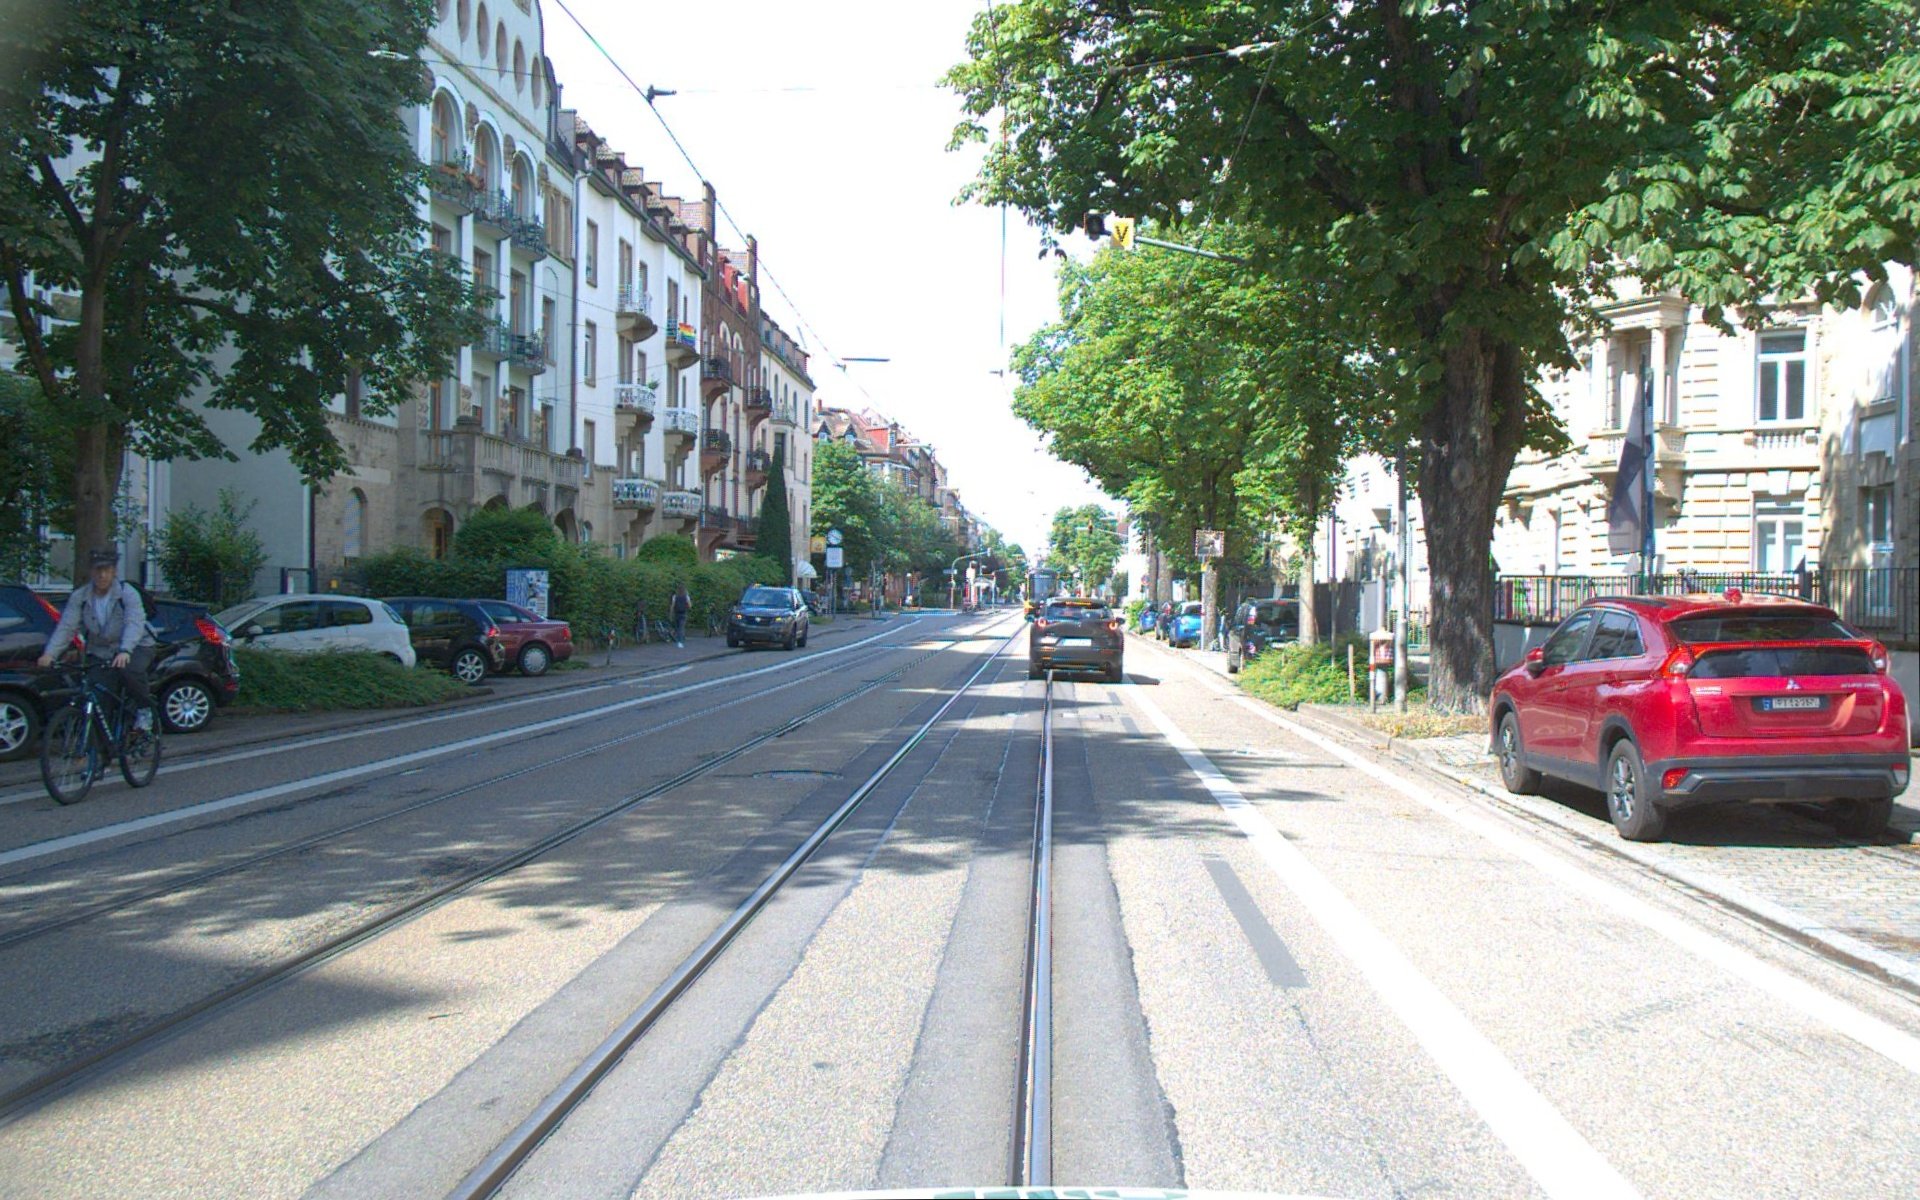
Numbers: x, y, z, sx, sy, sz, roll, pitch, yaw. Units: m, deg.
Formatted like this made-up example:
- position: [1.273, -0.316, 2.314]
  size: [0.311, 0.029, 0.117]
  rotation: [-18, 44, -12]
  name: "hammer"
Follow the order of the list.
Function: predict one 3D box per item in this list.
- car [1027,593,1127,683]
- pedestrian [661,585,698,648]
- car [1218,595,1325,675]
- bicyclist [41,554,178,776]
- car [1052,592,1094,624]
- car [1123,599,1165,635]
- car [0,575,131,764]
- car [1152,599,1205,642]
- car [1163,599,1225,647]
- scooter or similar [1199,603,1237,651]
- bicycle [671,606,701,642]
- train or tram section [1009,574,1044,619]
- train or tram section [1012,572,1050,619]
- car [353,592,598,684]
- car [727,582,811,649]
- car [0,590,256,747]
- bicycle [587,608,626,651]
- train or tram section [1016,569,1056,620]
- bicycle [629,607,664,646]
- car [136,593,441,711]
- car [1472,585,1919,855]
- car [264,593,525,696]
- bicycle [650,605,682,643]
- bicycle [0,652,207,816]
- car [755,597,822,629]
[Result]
- position: [2.224, 0.678, 32.256]
  size: [1.752, 1.538, 4.352]
  rotation: [2, 1, 2]
  name: "car"
- position: [-7.312, 0.423, 43.128]
  size: [0.665, 1.595, 0.882]
  rotation: [2, 0, 5]
  name: "pedestrian"
- position: [6.721, 0.727, 36.085]
  size: [1.661, 1.619, 4.204]
  rotation: [-1, 0, 2]
  name: "car"
- position: [-6.328, 0.473, 12.341]
  size: [0.628, 1.604, 0.742]
  rotation: [0, -1, 0]
  name: "bicyclist"
- position: [5.436, 0.364, 79.943]
  size: [1.748, 1.518, 4.883]
  rotation: [0, 0, 1]
  name: "car"
- position: [8.093, 0.740, 73.007]
  size: [1.590, 1.522, 3.849]
  rotation: [-1, 0, 3]
  name: "car"
- position: [-9.563, 0.641, 14.312]
  size: [3.966, 1.620, 1.714]
  rotation: [-2, 0, -42]
  name: "car"
- position: [8.253, 0.755, 62.696]
  size: [1.606, 1.522, 3.758]
  rotation: [-1, 0, 1]
  name: "car"
- position: [7.708, 0.730, 54.738]
  size: [1.605, 1.522, 3.628]
  rotation: [-1, 0, 2]
  name: "car"
- position: [7.469, 0.767, 47.864]
  size: [0.435, 1.322, 1.172]
  rotation: [-3, 2, -27]
  name: "scooter or similar"
- position: [-7.875, 0.683, 47.594]
  size: [0.375, 0.975, 1.922]
  rotation: [2, 0, 5]
  name: "bicycle"
- position: [5.542, -0.258, 137.990]
  size: [2.597, 3.589, 8.496]
  rotation: [0, 0, 0]
  name: "train or tram section"
- position: [5.517, -0.298, 129.502]
  size: [2.597, 3.589, 8.496]
  rotation: [0, 0, 0]
  name: "train or tram section"
- position: [-8.898, 0.667, 30.519]
  size: [3.934, 1.510, 1.819]
  rotation: [-2, 0, -40]
  name: "car"
- position: [-5.331, 0.397, 46.731]
  size: [1.748, 1.793, 4.883]
  rotation: [0, 0, 1]
  name: "car"
- position: [-9.709, 0.705, 17.335]
  size: [3.962, 1.510, 1.716]
  rotation: [-2, 0, -40]
  name: "car"
- position: [-8.501, 0.696, 39.830]
  size: [0.375, 0.975, 1.811]
  rotation: [2, 0, 5]
  name: "bicycle"
- position: [5.498, -0.337, 121.015]
  size: [2.597, 3.589, 8.496]
  rotation: [0, 0, 0]
  name: "train or tram section"
- position: [-8.211, 0.677, 43.374]
  size: [0.375, 0.975, 1.811]
  rotation: [2, 0, 5]
  name: "bicycle"
- position: [-9.707, 0.707, 24.064]
  size: [3.776, 1.510, 1.671]
  rotation: [-2, 0, -43]
  name: "car"
- position: [5.498, 0.764, 12.741]
  size: [1.837, 1.705, 4.283]
  rotation: [-1, 0, 1]
  name: "car"
- position: [-9.325, 0.690, 27.377]
  size: [3.766, 1.510, 1.675]
  rotation: [-2, 0, -37]
  name: "car"
- position: [-8.073, 0.652, 45.462]
  size: [0.375, 0.975, 1.811]
  rotation: [2, 0, 5]
  name: "bicycle"
- position: [-6.355, 0.941, 12.210]
  size: [0.642, 1.059, 2.001]
  rotation: [0, 0, 1]
  name: "bicycle"
- position: [-9.123, 0.682, 88.049]
  size: [3.168, 1.539, 1.680]
  rotation: [2, 0, 6]
  name: "car"
